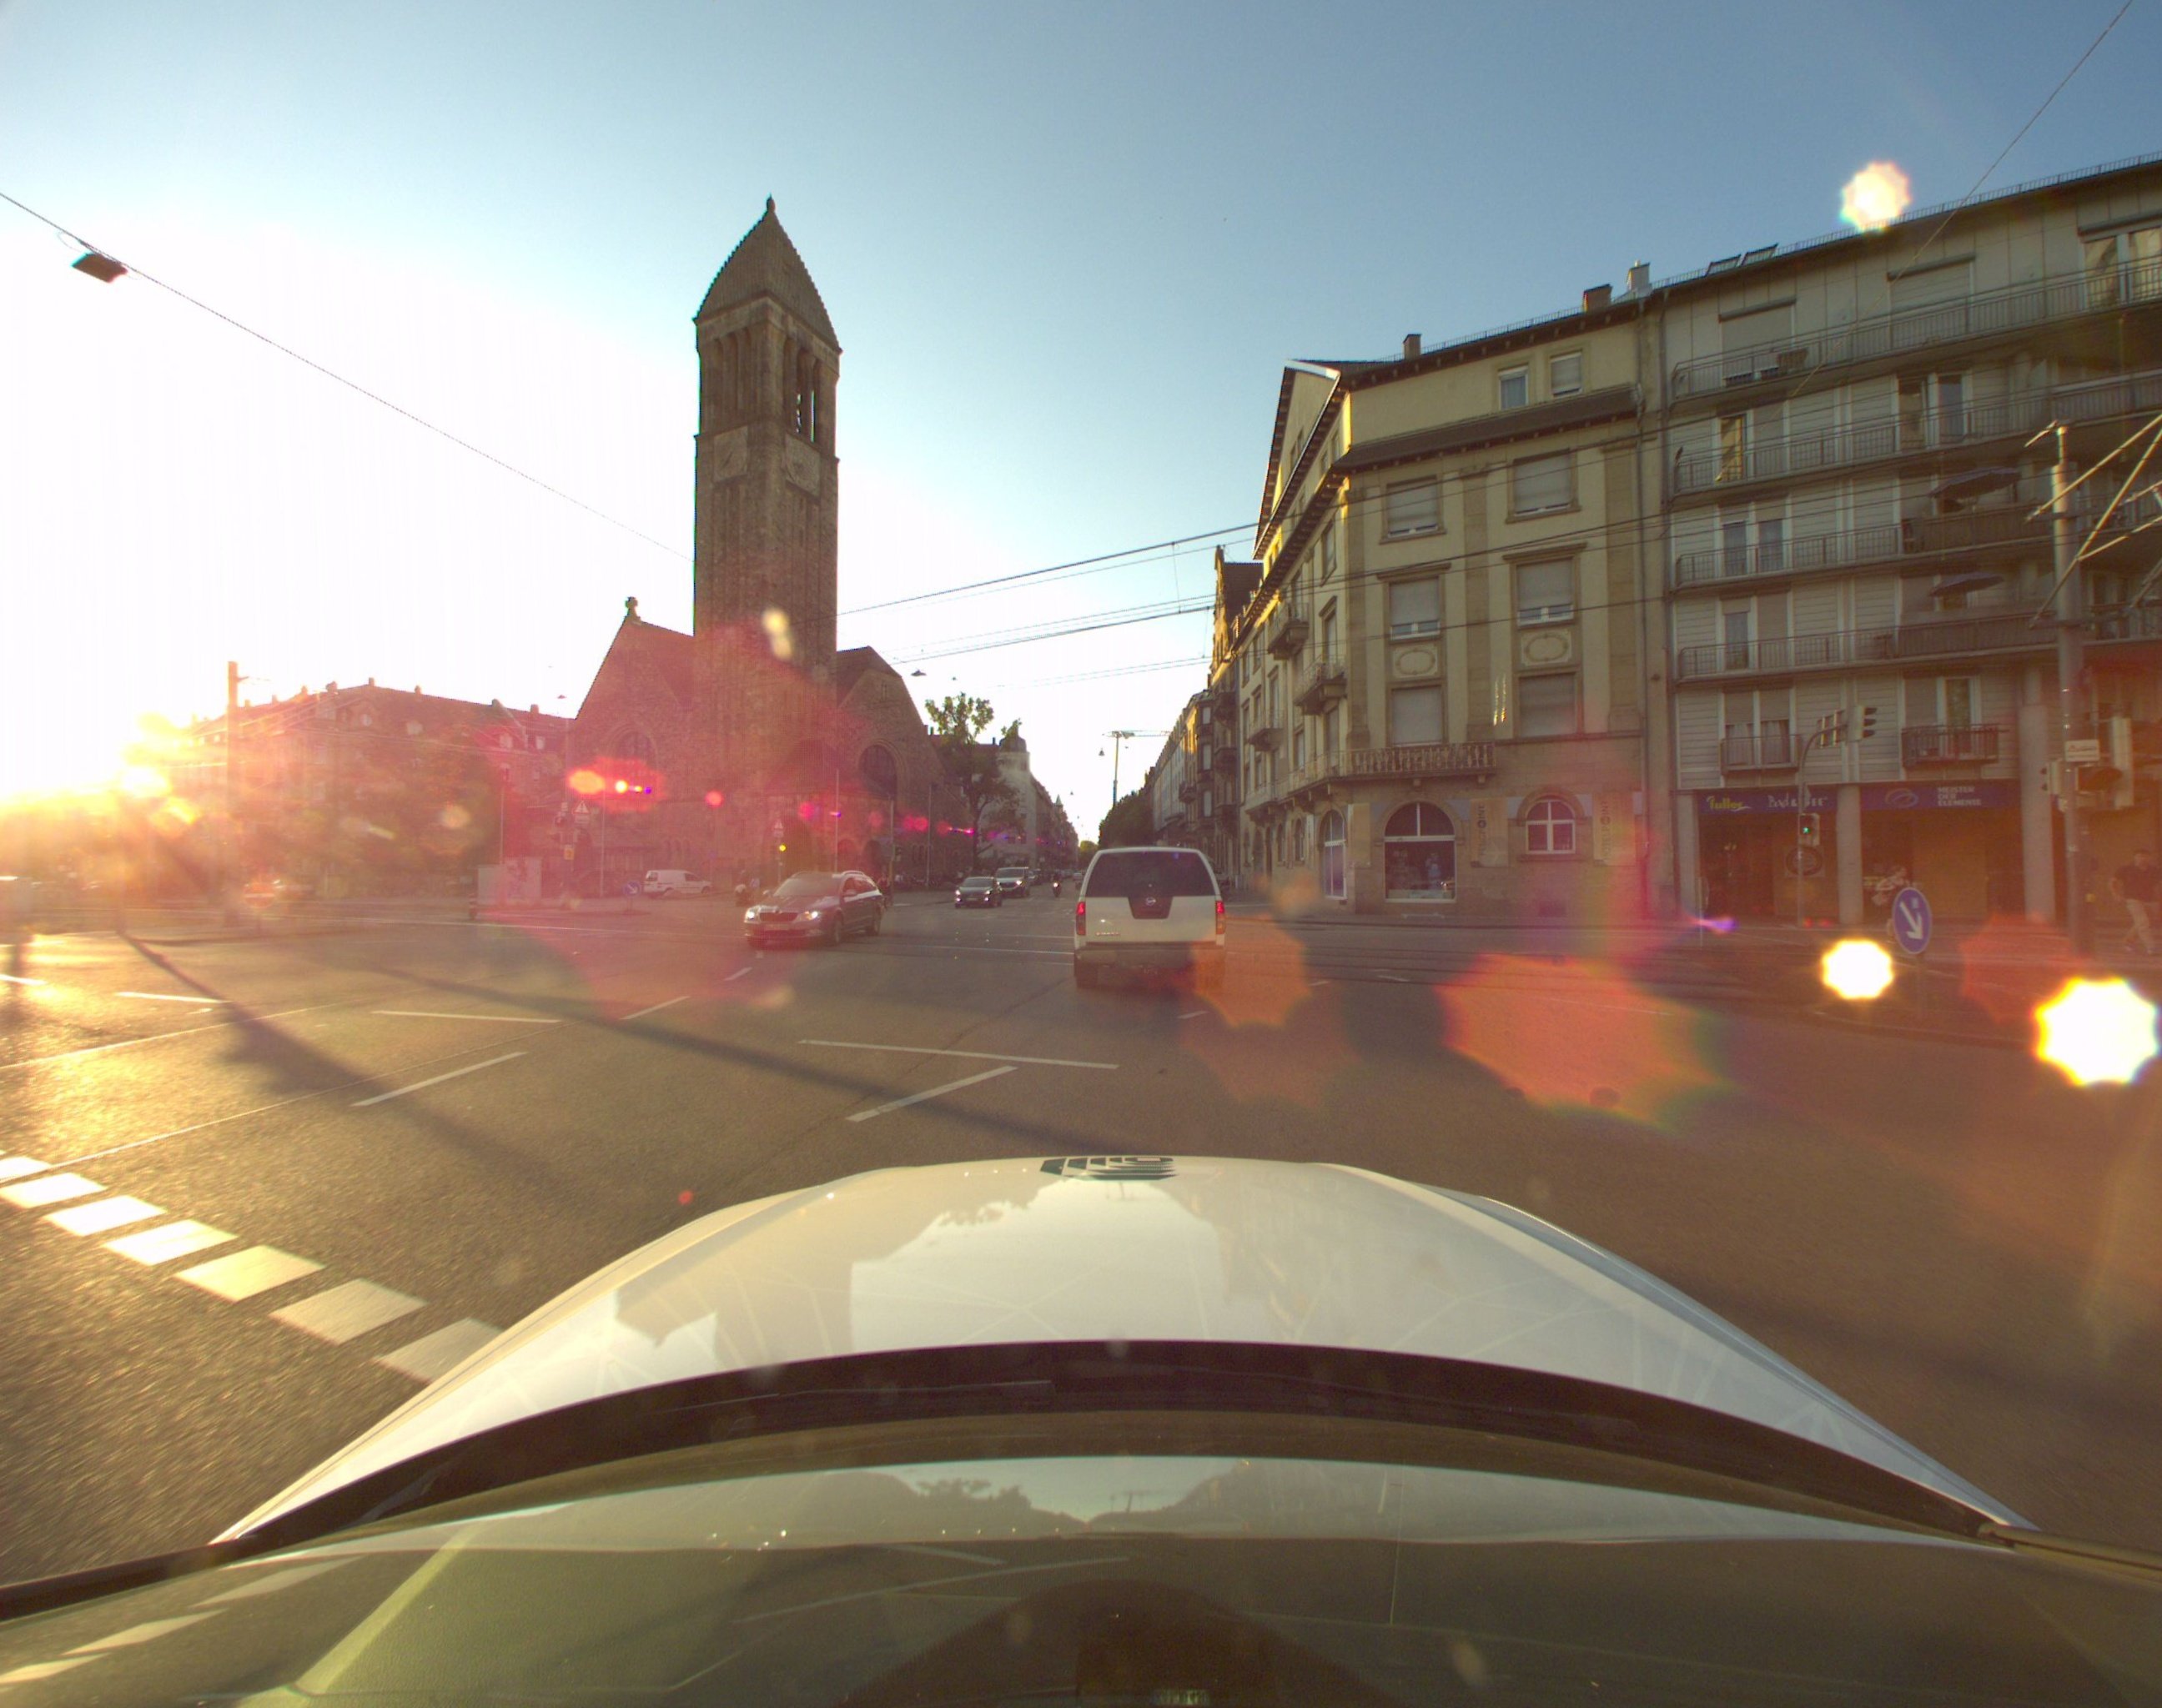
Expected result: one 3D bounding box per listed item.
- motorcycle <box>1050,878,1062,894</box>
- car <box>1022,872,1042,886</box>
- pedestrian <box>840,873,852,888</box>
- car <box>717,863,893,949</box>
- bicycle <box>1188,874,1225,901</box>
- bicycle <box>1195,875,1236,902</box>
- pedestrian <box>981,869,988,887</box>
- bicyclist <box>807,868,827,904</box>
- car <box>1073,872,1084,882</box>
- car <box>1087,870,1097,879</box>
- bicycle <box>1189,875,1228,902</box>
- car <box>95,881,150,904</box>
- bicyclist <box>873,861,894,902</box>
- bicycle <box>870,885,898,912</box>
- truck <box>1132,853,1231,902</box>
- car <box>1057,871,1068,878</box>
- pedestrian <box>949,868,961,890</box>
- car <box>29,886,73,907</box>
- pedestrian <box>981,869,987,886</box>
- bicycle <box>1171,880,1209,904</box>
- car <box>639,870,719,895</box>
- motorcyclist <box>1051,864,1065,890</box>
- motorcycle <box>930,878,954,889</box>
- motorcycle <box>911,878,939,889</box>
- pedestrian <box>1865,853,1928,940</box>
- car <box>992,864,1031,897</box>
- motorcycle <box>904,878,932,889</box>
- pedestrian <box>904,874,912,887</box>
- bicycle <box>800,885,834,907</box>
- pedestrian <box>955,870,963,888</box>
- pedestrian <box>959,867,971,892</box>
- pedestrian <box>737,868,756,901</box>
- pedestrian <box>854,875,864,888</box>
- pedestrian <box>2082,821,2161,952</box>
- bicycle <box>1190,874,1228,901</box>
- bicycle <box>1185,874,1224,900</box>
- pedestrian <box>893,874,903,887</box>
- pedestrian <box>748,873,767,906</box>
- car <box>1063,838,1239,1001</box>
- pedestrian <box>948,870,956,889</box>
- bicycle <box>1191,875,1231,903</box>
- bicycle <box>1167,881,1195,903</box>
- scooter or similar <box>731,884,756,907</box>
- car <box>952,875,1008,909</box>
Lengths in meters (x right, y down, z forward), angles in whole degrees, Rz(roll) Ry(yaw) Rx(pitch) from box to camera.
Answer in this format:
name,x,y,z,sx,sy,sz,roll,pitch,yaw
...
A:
name,x,y,z,sx,sy,sz,roll,pitch,yaw
motorcycle,-1.600,2.040,52.246,0.597,1.044,1.946,0,-2,2
car,-5.734,2.929,95.643,1.851,1.529,4.001,0,-2,2
pedestrian,-15.196,1.722,52.600,0.517,0.960,0.482,0,-2,22
car,-5.733,1.019,17.671,1.986,1.558,4.771,-2,-1,2
bicycle,6.451,1.722,41.927,1.811,1.238,0.410,-4,-2,0
bicycle,6.436,1.652,38.942,1.811,1.150,0.636,-4,-2,0
pedestrian,-9.823,2.470,83.272,0.643,1.855,0.559,1,-2,-12
bicyclist,-13.658,1.637,42.146,0.652,1.827,0.862,0,-1,13
car,-0.398,3.832,136.525,1.852,1.529,3.999,0,-2,0
car,2.103,3.900,153.590,1.851,1.529,4.001,0,-2,2
bicycle,6.358,1.717,40.597,1.811,1.238,0.478,-4,-2,0
car,-88.598,3.549,75.281,3.952,2.014,2.010,0,-2,22
bicyclist,-8.168,1.130,33.715,0.597,1.645,0.963,0,-2,1
bicycle,-8.183,1.845,33.892,0.597,1.044,1.946,0,-2,2
truck,5.678,1.291,45.554,5.702,2.565,2.260,1,-2,-41
car,-3.667,4.086,161.768,1.851,1.529,4.001,0,-2,2
pedestrian,-9.541,1.903,61.675,0.809,1.670,0.859,0,-2,0
car,-103.044,4.223,81.485,3.949,2.014,2.012,0,-2,29
pedestrian,-10.031,2.408,84.123,0.559,1.696,0.643,1,-2,-5
bicycle,5.274,1.843,39.449,1.721,1.083,0.317,-4,-2,0
car,-25.879,1.816,52.627,1.698,1.517,4.481,0,-2,27
motorcyclist,-1.488,1.505,52.419,0.871,1.645,0.963,0,-2,1
motorcycle,-12.523,2.639,73.543,2.146,0.988,0.597,0,-2,22
motorcycle,-13.654,2.567,71.298,2.239,0.988,0.707,1,-2,-3
pedestrian,16.971,0.870,16.969,0.779,1.779,0.546,-1,-2,28
car,-4.451,1.738,52.982,1.986,2.014,4.951,-1,-2,1
motorcycle,-13.849,2.508,69.277,2.239,0.988,0.707,1,-2,-3
pedestrian,-12.288,1.893,57.825,0.522,0.960,0.477,1,-2,-13
bicycle,-13.653,2.160,42.159,0.652,1.078,2.251,0,-1,11
pedestrian,-11.568,2.363,77.148,0.640,1.696,0.562,0,-2,2
pedestrian,-8.758,1.946,61.635,0.809,1.901,0.666,0,-2,0
pedestrian,-17.259,1.551,41.973,0.629,1.699,0.605,0,-2,16
pedestrian,-17.089,2.091,62.634,0.550,0.960,0.708,1,-2,-4
pedestrian,18.349,0.562,14.179,0.811,2.209,0.875,0,-2,25
bicycle,6.493,1.705,41.319,1.811,1.238,0.412,-4,-2,0
bicycle,6.434,1.739,42.459,1.849,1.238,0.531,-4,-2,0
pedestrian,-13.047,1.890,57.951,0.517,0.960,0.482,0,-2,20
pedestrian,-16.629,1.810,41.840,0.629,1.699,0.605,0,-2,13
car,0.892,0.793,11.234,1.985,1.809,4.002,1,-2,3
pedestrian,-11.892,2.341,75.040,0.642,1.696,0.560,1,-2,-6
bicycle,6.361,1.693,39.885,1.811,1.238,0.488,-4,-2,0
bicycle,5.101,1.932,41.599,1.328,1.024,0.317,-4,-2,0
scooter or similar,-16.948,2.072,40.954,0.629,1.103,1.082,0,-2,14
car,-4.687,1.742,38.372,1.986,1.477,4.140,-1,-1,2
